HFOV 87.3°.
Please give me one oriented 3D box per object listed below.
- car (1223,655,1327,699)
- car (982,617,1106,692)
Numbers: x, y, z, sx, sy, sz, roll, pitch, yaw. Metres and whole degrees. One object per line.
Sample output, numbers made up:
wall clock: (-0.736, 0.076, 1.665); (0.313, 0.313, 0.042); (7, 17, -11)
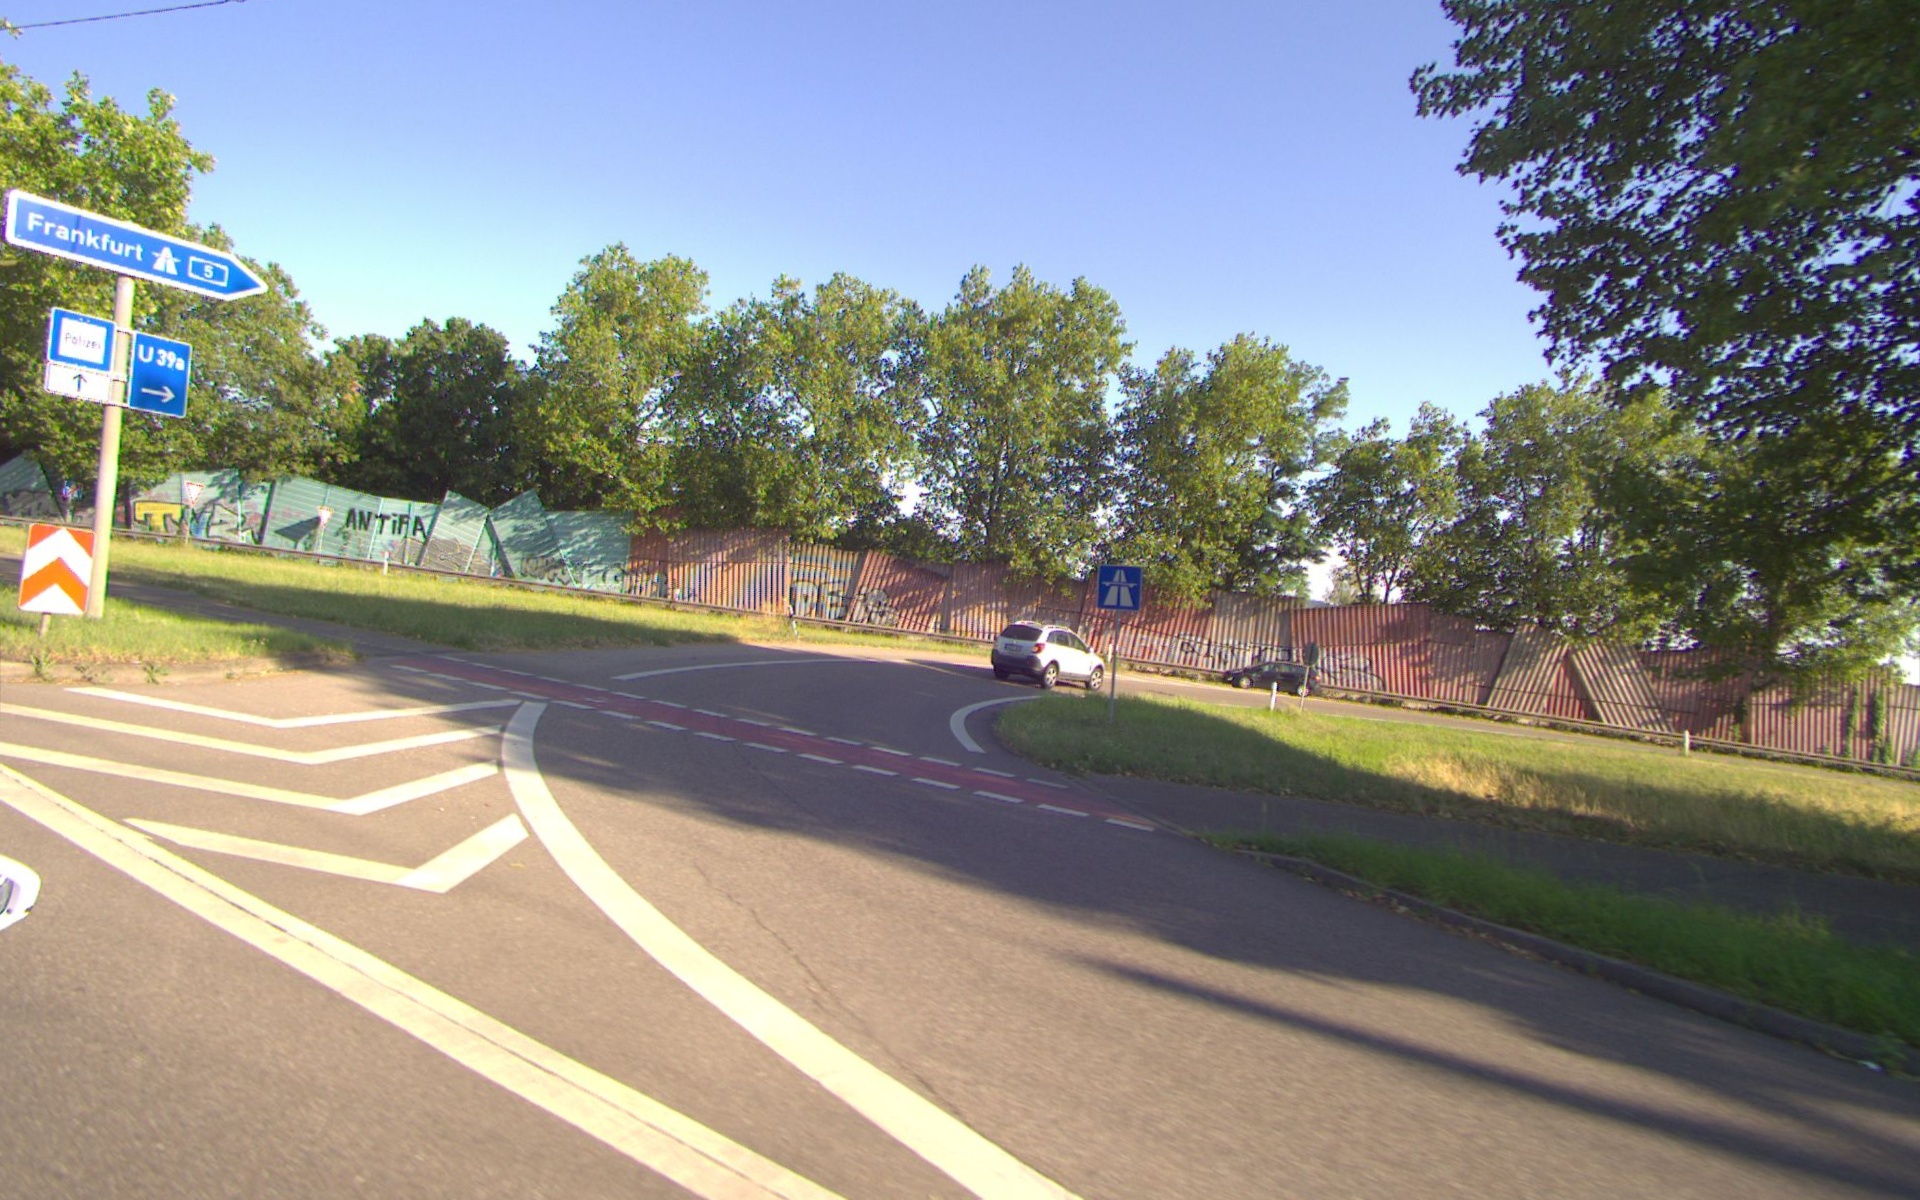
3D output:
car: (14.375, 3.500, 46.032); (4.143, 1.457, 1.800); (7, -1, 6)
car: (2.524, 1.638, 29.379); (1.786, 1.793, 3.853); (6, -2, 35)
